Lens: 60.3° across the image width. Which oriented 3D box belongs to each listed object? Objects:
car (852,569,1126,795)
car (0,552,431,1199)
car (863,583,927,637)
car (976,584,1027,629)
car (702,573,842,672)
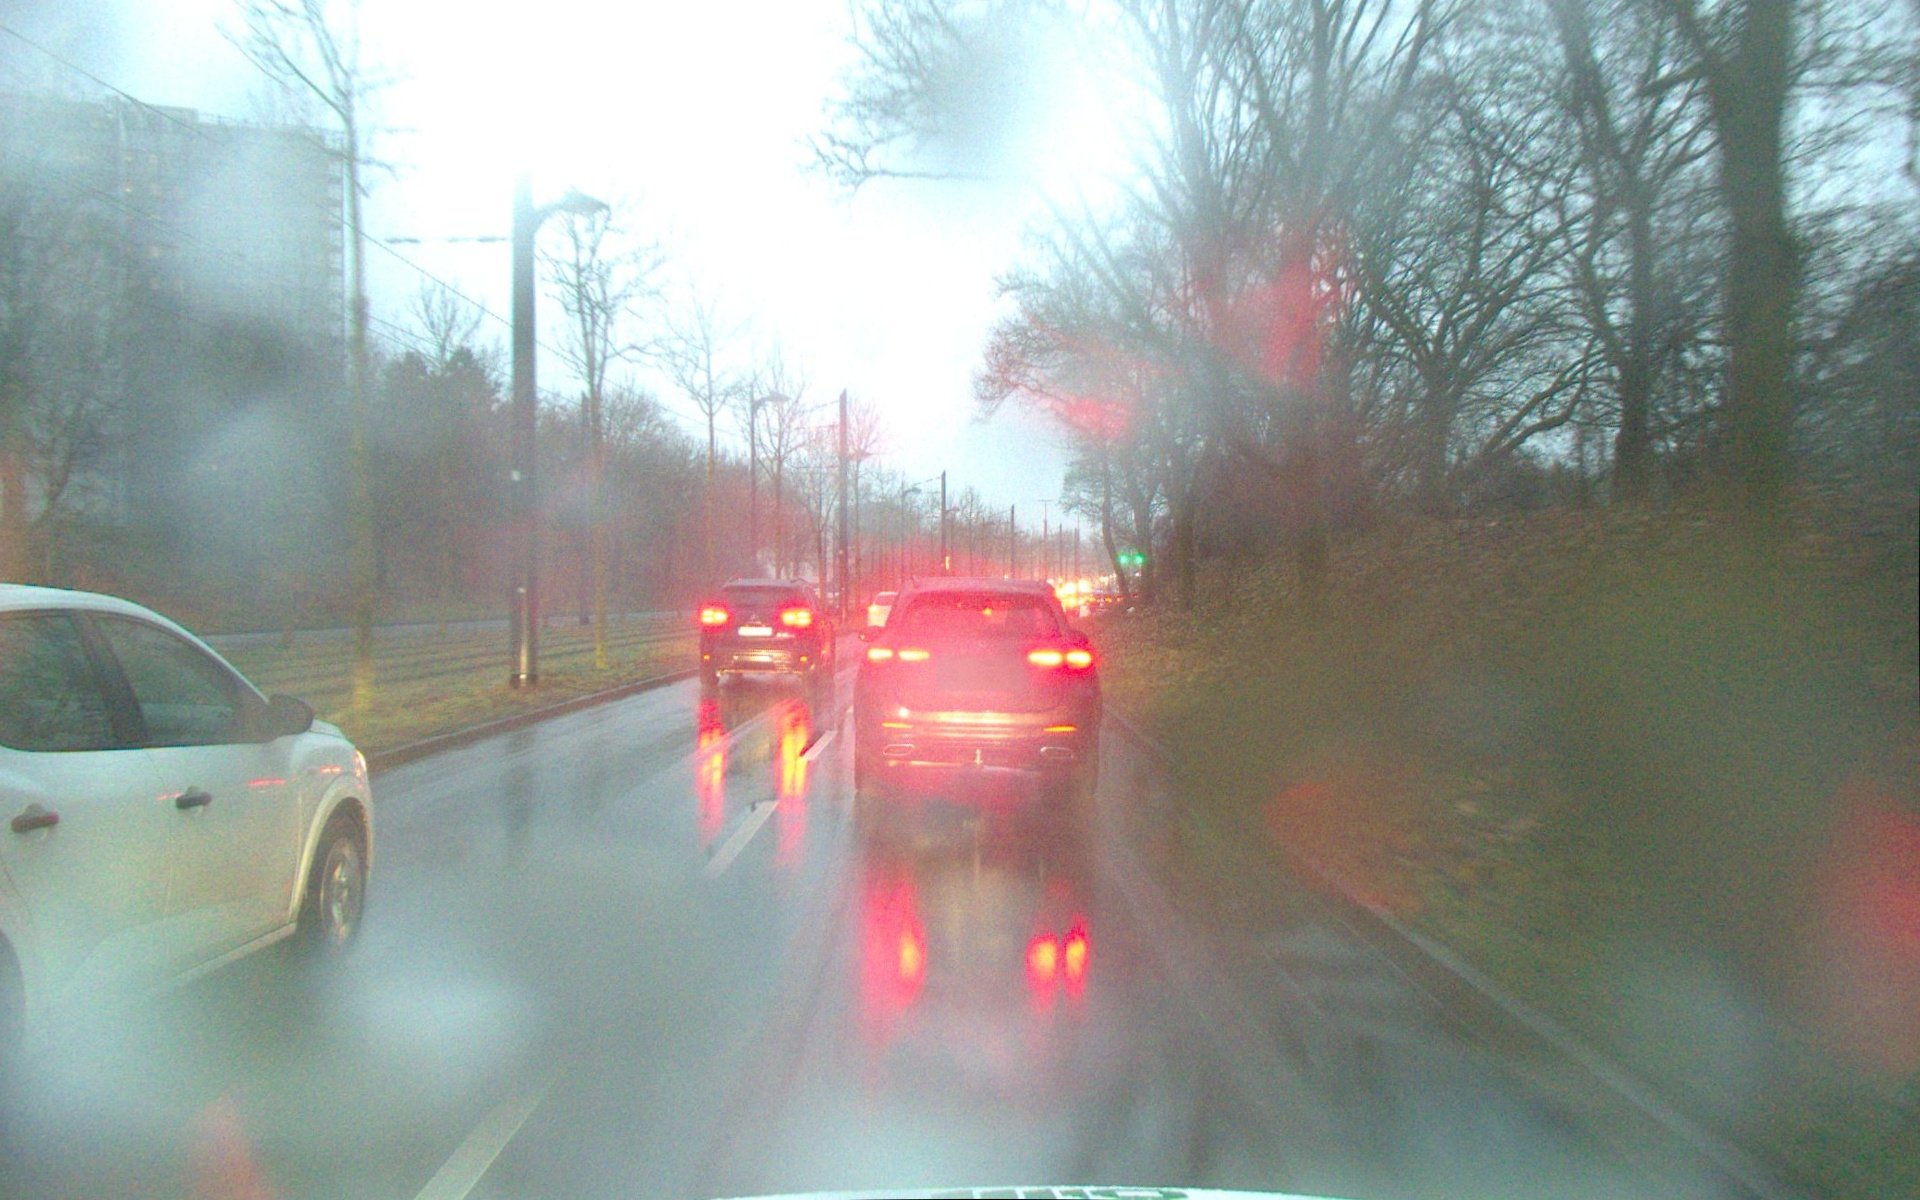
[{"bbox_3d":[0.116,0.568,13.890,1.958,1.612,3.998,1,1,-3],"label":"car"},{"bbox_3d":[-3.138,0.653,5.103,1.673,1.551,4.135,0,0,0],"label":"car"},{"bbox_3d":[-2.011,0.272,52.257,1.841,1.621,4.000,0,1,0],"label":"car"},{"bbox_3d":[1.558,0.216,60.923,1.672,1.585,3.998,0,0,4],"label":"car"},{"bbox_3d":[-2.951,0.306,26.754,1.842,1.485,4.000,0,1,-1],"label":"car"}]
